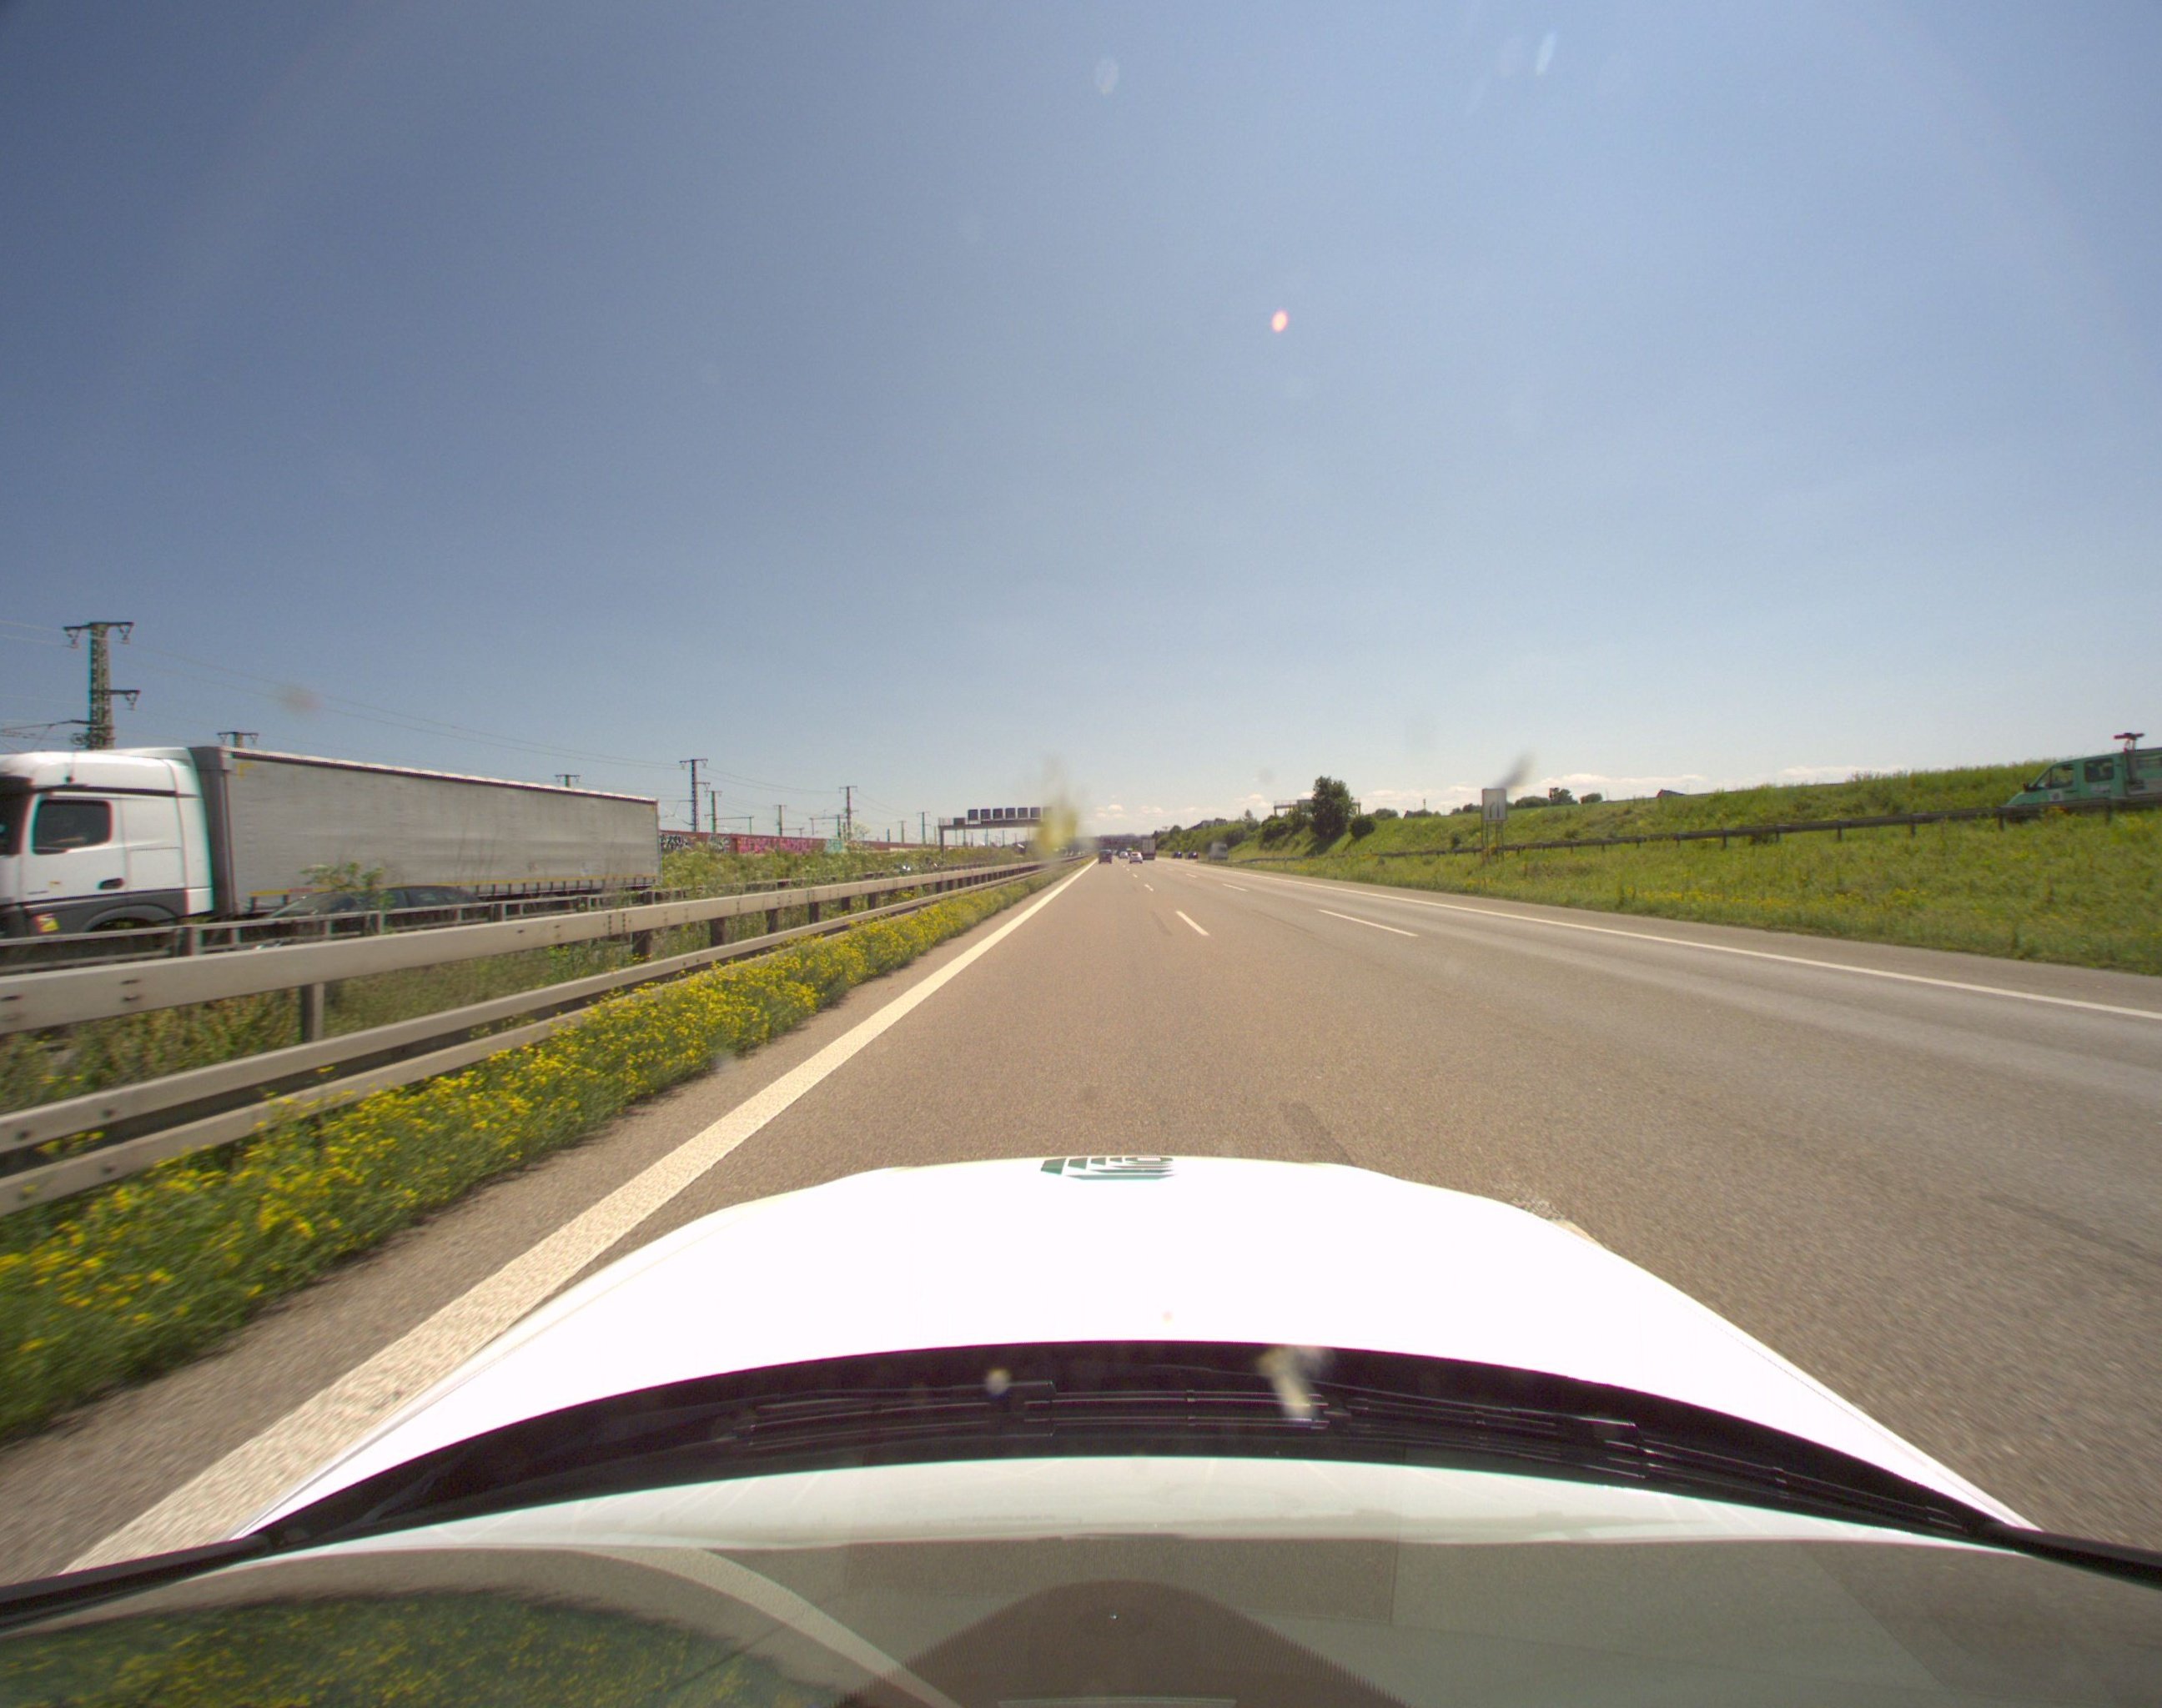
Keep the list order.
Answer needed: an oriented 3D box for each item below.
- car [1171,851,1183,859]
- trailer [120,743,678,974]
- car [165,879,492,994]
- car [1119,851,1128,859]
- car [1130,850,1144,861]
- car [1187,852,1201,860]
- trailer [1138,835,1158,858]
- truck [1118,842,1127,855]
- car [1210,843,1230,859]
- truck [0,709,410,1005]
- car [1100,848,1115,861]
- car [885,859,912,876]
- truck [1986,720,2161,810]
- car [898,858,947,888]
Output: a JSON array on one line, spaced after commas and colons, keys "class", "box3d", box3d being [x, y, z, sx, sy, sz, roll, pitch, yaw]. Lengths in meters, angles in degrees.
[{"class": "car", "box3d": [20.020, 0.243, 169.909, 1.986, 1.596, 4.001, 0, -1, 1]}, {"class": "trailer", "box3d": [-15.714, 0.074, 21.521, 2.719, 4.074, 13.538, -2, 0, 3]}, {"class": "car", "box3d": [-11.915, 1.214, 13.298, 1.638, 1.461, 3.839, -1, 0, 3]}, {"class": "car", "box3d": [9.260, 0.245, 177.338, 1.873, 1.526, 4.003, -1, -1, 3]}, {"class": "car", "box3d": [7.652, 0.191, 110.517, 1.872, 1.526, 4.005, -1, -1, 5]}, {"class": "car", "box3d": [20.801, 0.395, 149.582, 1.987, 1.508, 3.998, 0, -1, -1]}, {"class": "trailer", "box3d": [12.546, -1.349, 152.777, 3.165, 4.059, 9.444, -2, 0, 2]}, {"class": "truck", "box3d": [11.170, -1.482, 219.911, 2.346, 3.416, 6.060, -1, 0, 2]}, {"class": "car", "box3d": [22.276, -0.444, 130.492, 2.266, 2.528, 5.400, -1, 0, 1]}, {"class": "truck", "box3d": [-16.033, 0.084, 14.405, 2.719, 4.072, 6.385, -2, 0, 3]}, {"class": "car", "box3d": [3.557, 0.088, 109.718, 1.873, 1.775, 4.002, -2, -1, 2]}, {"class": "car", "box3d": [-18.020, 1.283, 80.577, 1.714, 1.544, 3.811, -1, 0, 2]}, {"class": "truck", "box3d": [28.987, -2.434, 21.941, 2.160, 2.092, 6.110, -1, 0, -4]}, {"class": "car", "box3d": [-8.251, 0.956, 42.653, 1.639, 1.479, 3.816, -1, 0, 2]}]
